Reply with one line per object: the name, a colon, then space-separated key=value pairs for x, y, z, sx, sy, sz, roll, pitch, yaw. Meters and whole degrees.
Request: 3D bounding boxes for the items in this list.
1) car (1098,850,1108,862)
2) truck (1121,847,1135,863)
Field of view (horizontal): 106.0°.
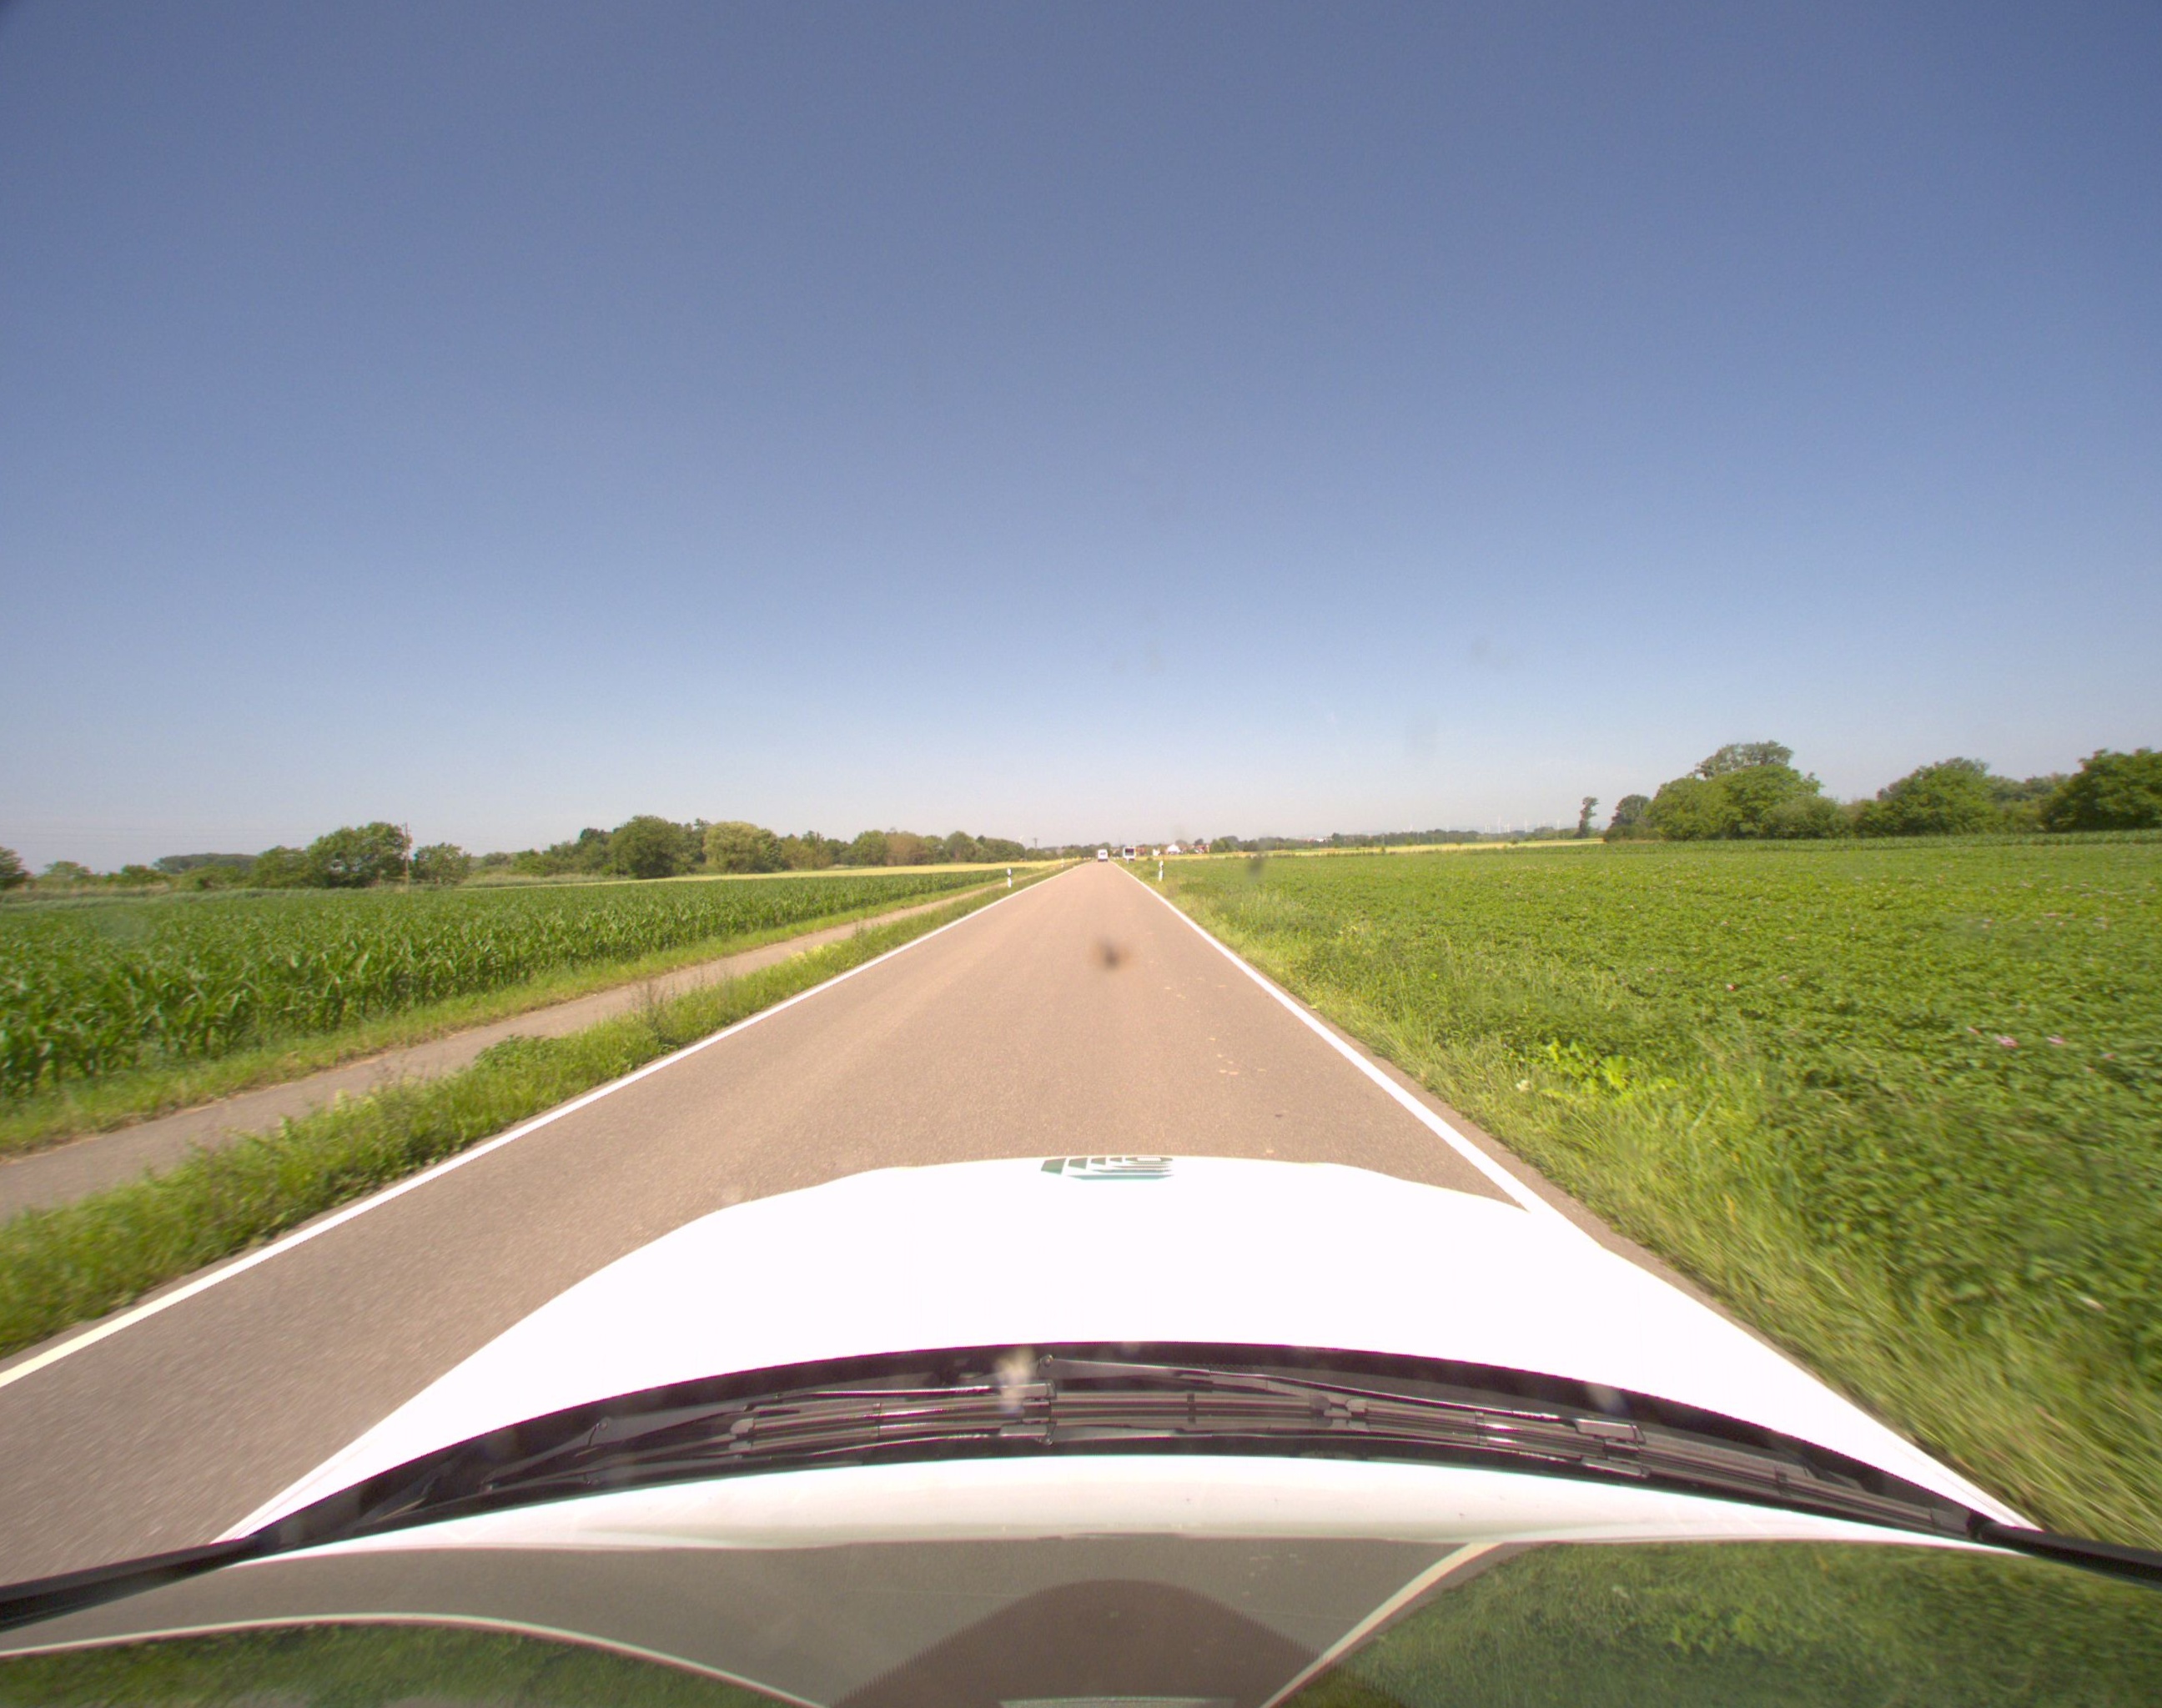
car: x=4.603 y=0.434 z=170.535 sx=2.099 sy=2.304 sz=5.497 roll=0 pitch=0 yaw=1
truck: x=9.167 y=0.203 z=159.163 sx=2.328 sy=2.942 sz=7.006 roll=1 pitch=-1 yaw=0
